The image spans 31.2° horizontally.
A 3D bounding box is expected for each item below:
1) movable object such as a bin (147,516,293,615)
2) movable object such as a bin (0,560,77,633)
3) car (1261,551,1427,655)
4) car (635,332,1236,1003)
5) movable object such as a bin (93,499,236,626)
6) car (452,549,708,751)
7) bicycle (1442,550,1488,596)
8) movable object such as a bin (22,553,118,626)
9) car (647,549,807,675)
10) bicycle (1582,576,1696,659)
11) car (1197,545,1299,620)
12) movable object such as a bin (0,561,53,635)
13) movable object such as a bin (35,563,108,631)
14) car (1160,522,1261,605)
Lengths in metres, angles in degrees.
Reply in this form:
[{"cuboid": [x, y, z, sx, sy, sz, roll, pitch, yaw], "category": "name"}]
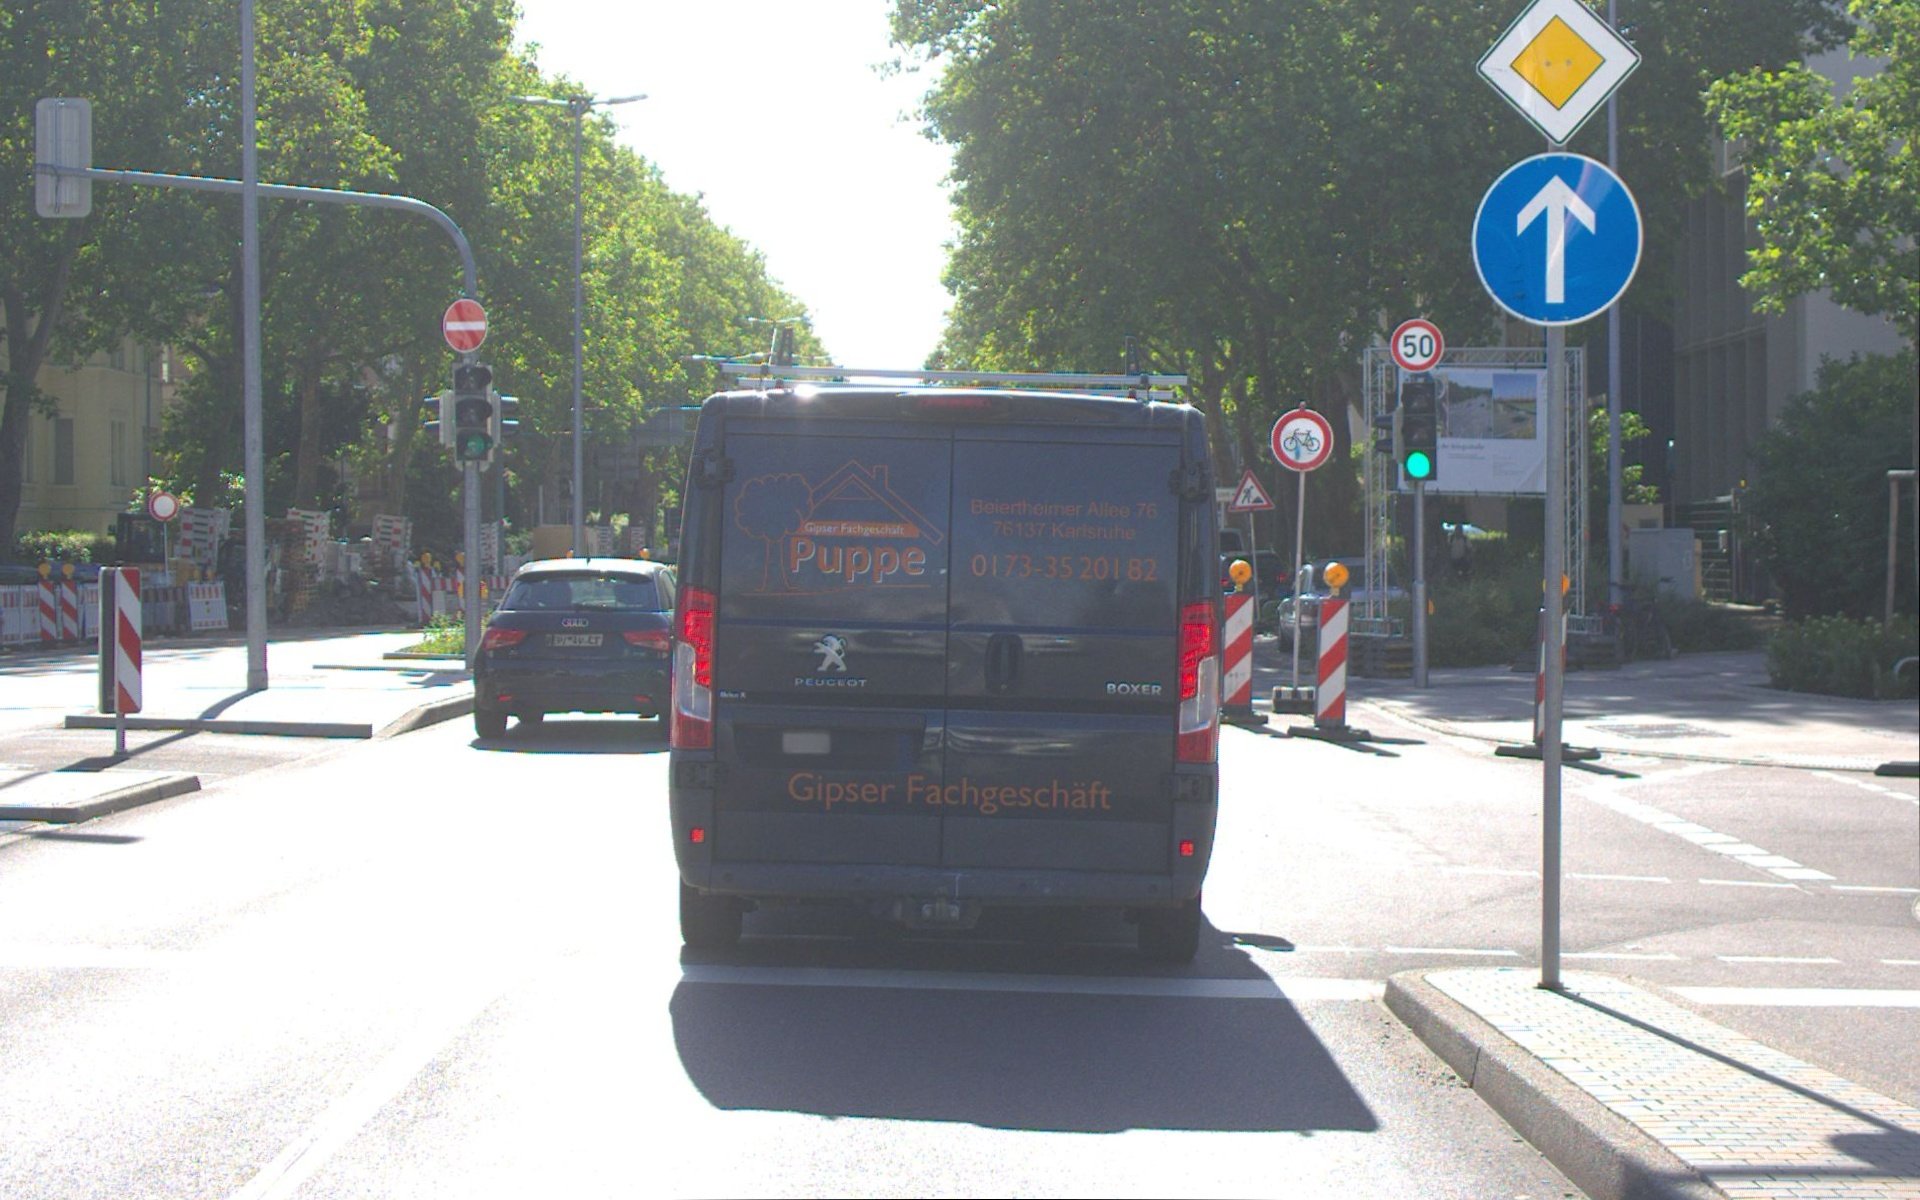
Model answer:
[{"cuboid": [-17.604, -0.831, 82.051, 1.994, 2.271, 5.598, -1, 1, 3], "category": "movable object such as a bin"}, {"cuboid": [-17.131, -0.073, 63.420, 1.410, 1.333, 0.936, 0, 1, 2], "category": "movable object such as a bin"}, {"cuboid": [5.770, 0.011, 52.196, 1.852, 1.474, 4.942, 0, 1, -1], "category": "car"}, {"cuboid": [-0.112, 0.188, 14.132, 2.095, 2.347, 3.933, 1, 2, -1], "category": "car"}, {"cuboid": [-17.506, -0.836, 75.867, 2.146, 2.697, 5.355, 0, 1, -3], "category": "movable object such as a bin"}, {"cuboid": [-3.052, 0.354, 28.290, 1.746, 1.402, 4.001, 1, 2, -2], "category": "car"}, {"cuboid": [10.982, -0.590, 74.827, 0.782, 0.963, 1.823, 0, 1, 2], "category": "bicycle"}, {"cuboid": [-17.497, -0.215, 67.580, 1.629, 1.418, 1.263, 0, 1, -25], "category": "movable object such as a bin"}, {"cuboid": [-2.765, 0.108, 41.495, 1.746, 1.402, 4.000, 1, 1, -2], "category": "car"}, {"cuboid": [8.596, 0.207, 43.454, 0.588, 1.001, 2.127, 1, 1, 35], "category": "bicycle"}, {"cuboid": [5.953, -0.390, 71.420, 1.763, 1.503, 4.251, 0, 1, 0], "category": "car"}, {"cuboid": [-17.324, -0.043, 62.336, 1.410, 1.333, 1.157, 0, 1, 2], "category": "movable object such as a bin"}, {"cuboid": [-16.985, -0.068, 65.755, 0.979, 1.266, 1.540, 0, 1, 0], "category": "movable object such as a bin"}, {"cuboid": [6.010, -0.896, 83.094, 2.026, 1.940, 5.273, 0, 1, 0], "category": "car"}]
